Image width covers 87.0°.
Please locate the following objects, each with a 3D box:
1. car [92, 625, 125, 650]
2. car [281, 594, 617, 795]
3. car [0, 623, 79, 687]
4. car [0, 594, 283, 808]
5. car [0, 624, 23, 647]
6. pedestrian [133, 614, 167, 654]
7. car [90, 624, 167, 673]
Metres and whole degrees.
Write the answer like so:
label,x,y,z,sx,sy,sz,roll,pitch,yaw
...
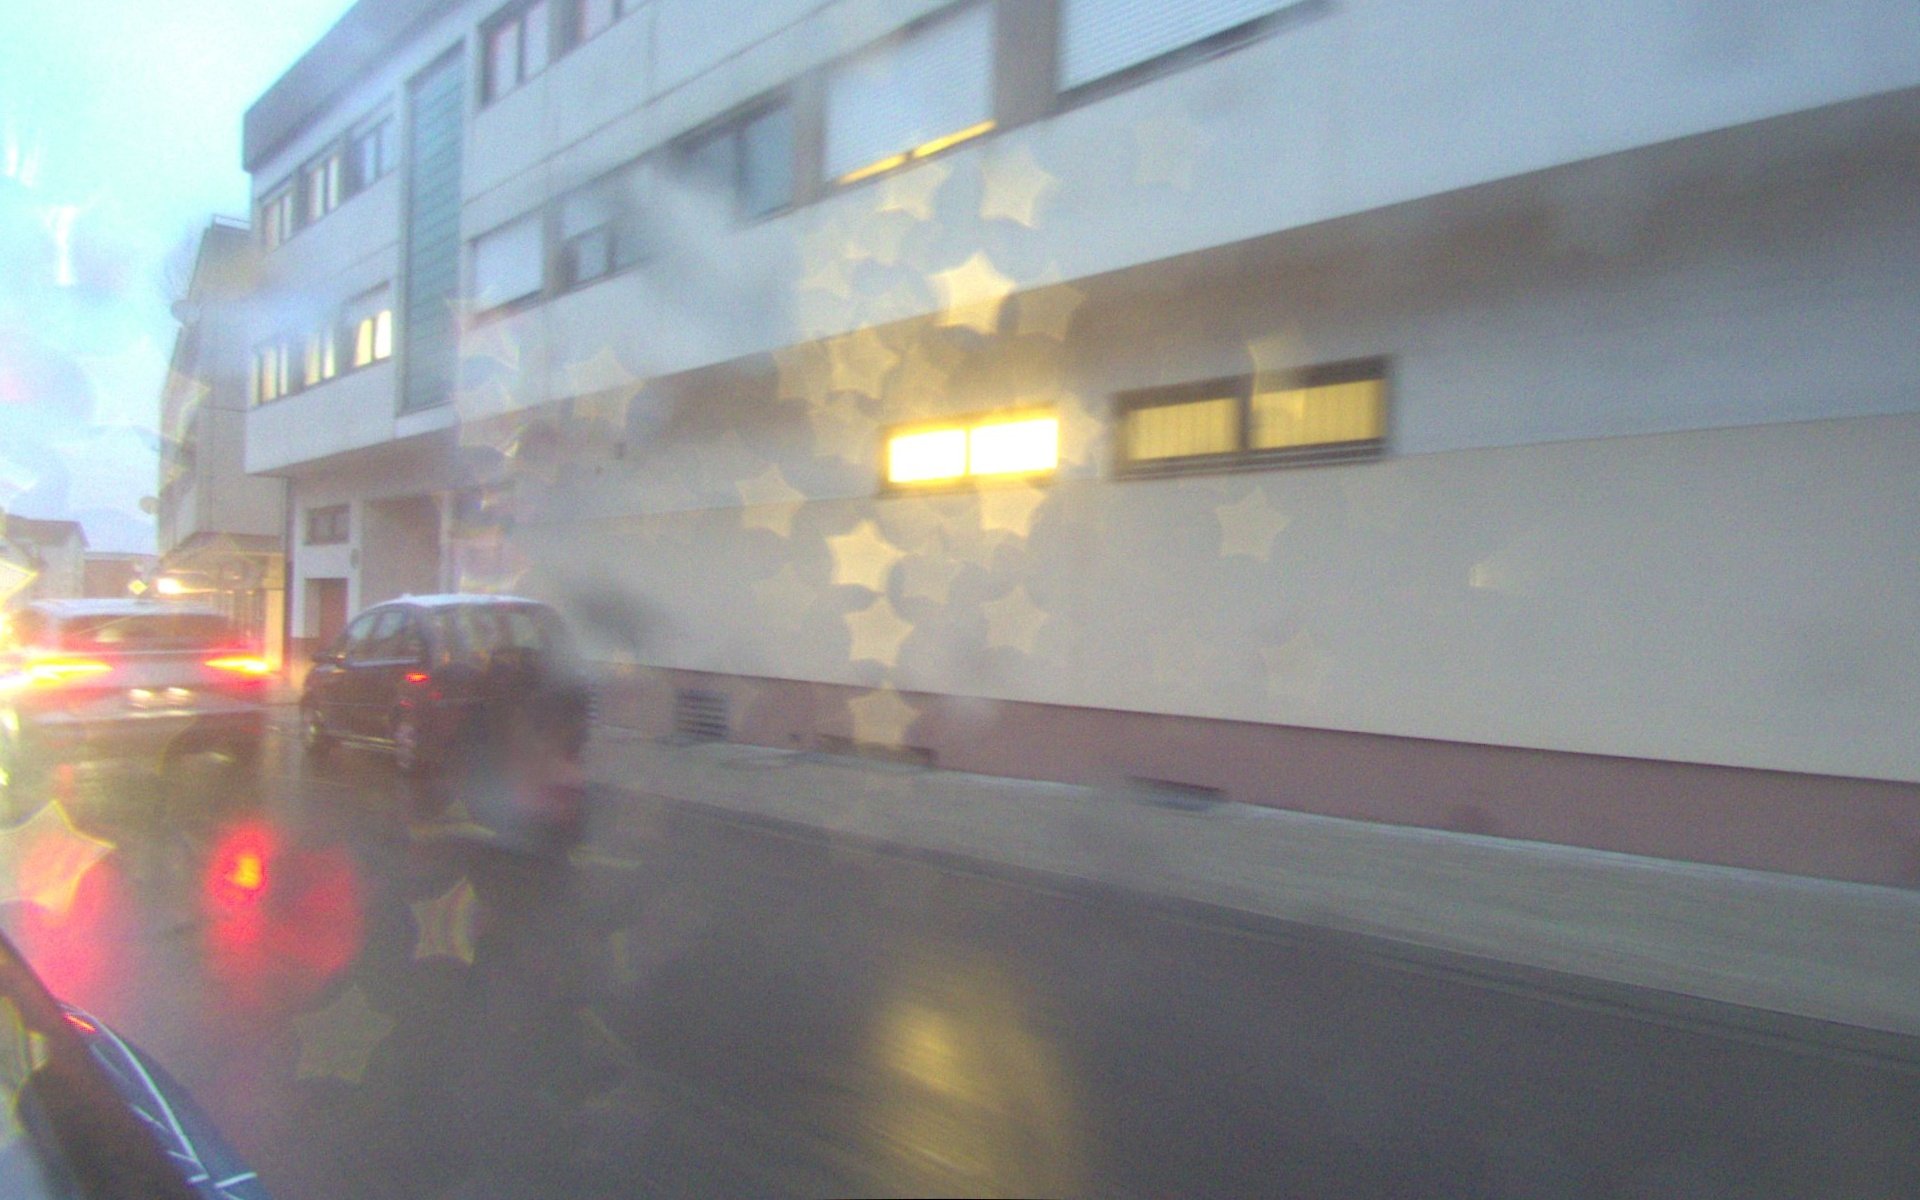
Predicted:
label,x,y,z,sx,sy,sz,roll,pitch,yaw
car,-59.507,2.624,70.793,1.699,1.626,3.822,-1,-1,-40
car,-5.303,0.812,10.301,3.810,1.655,1.775,-1,-1,41
car,-24.488,1.400,26.674,3.407,1.547,1.619,-1,-2,44
car,-8.269,0.812,9.708,4.396,1.608,1.792,-1,-2,40
car,-67.678,2.484,71.513,1.771,1.522,4.007,4,-3,-39
pedestrian,-39.794,1.685,49.730,1.182,1.953,0.979,2,-3,-33
car,-26.538,1.517,32.248,1.655,1.457,4.433,3,-3,-42
